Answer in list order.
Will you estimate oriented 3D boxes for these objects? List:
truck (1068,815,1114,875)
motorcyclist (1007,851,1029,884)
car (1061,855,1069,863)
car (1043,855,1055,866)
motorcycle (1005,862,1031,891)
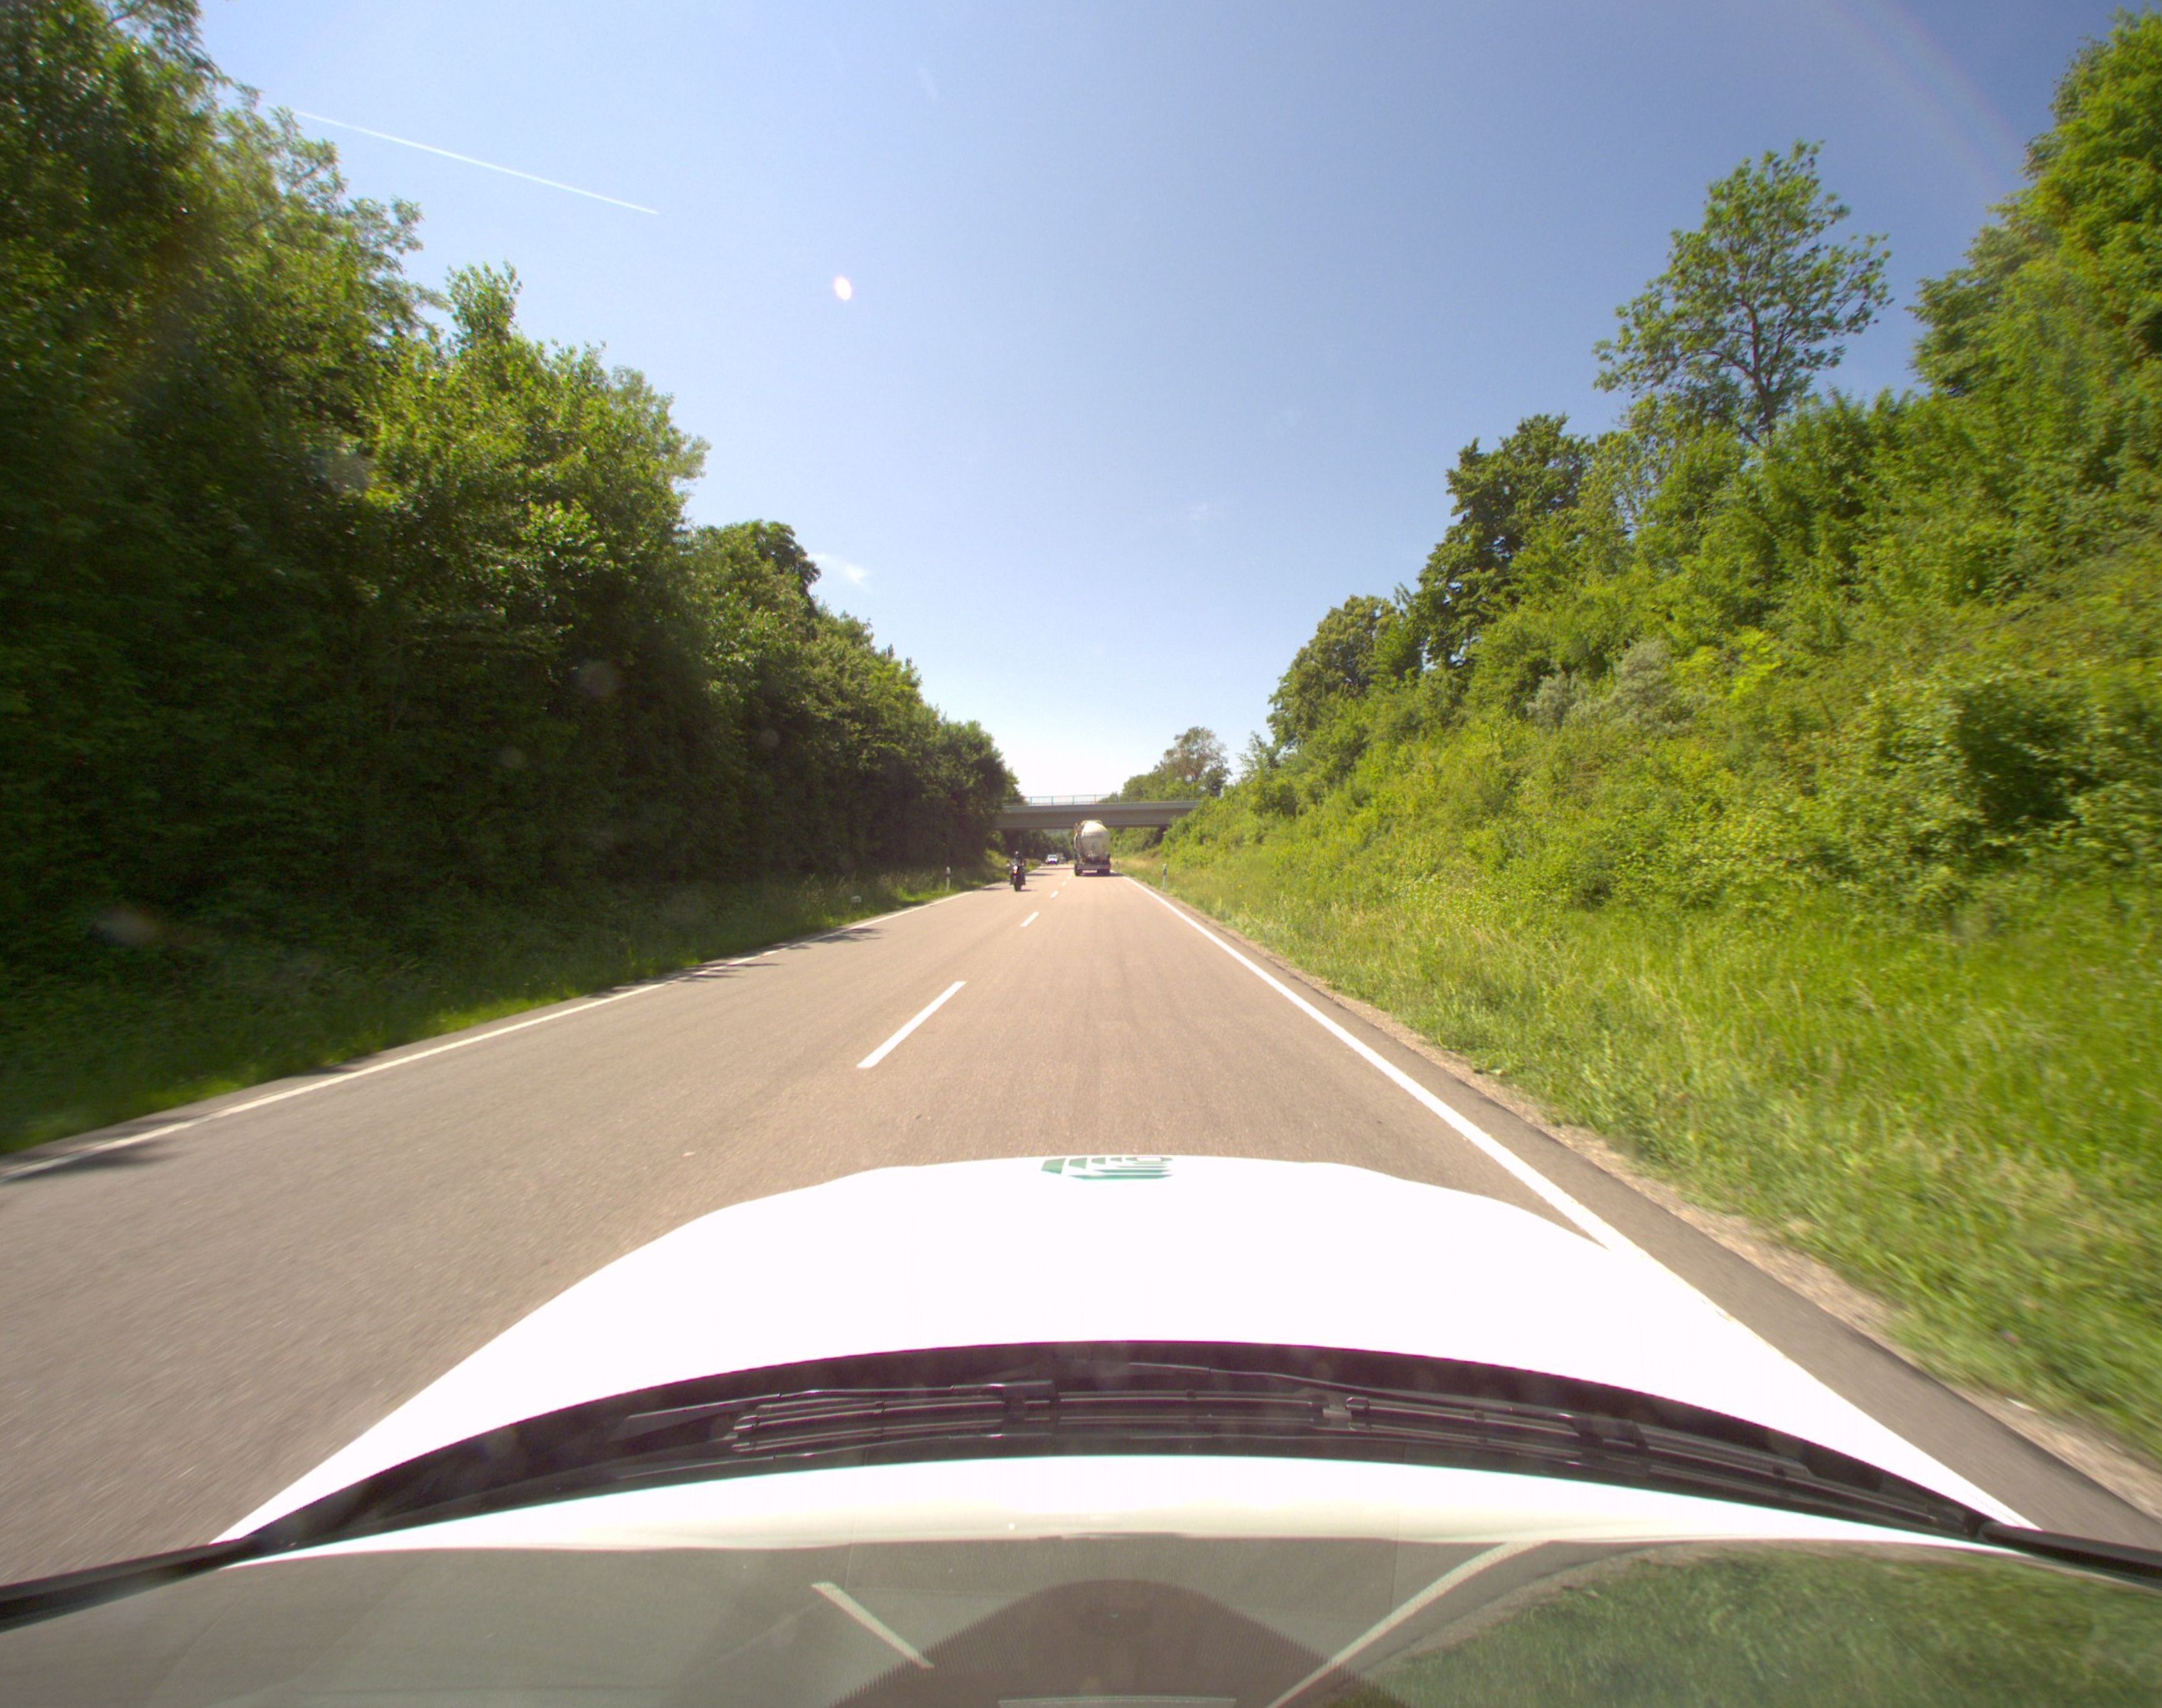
[{"bbox_3d":[0.709,-0.473,63.862,3.039,3.999,15.633,2,-1,0],"label":"truck"},{"bbox_3d":[-2.793,0.599,36.300,0.846,1.438,1.074,-1,0,2],"label":"motorcyclist"},{"bbox_3d":[-4.144,1.313,208.799,1.989,2.014,3.996,-1,0,-3],"label":"car"},{"bbox_3d":[-5.932,1.183,150.229,1.926,1.905,5.326,-1,0,0],"label":"car"},{"bbox_3d":[-2.784,0.972,36.325,0.860,1.221,2.443,-1,0,2],"label":"motorcycle"}]
